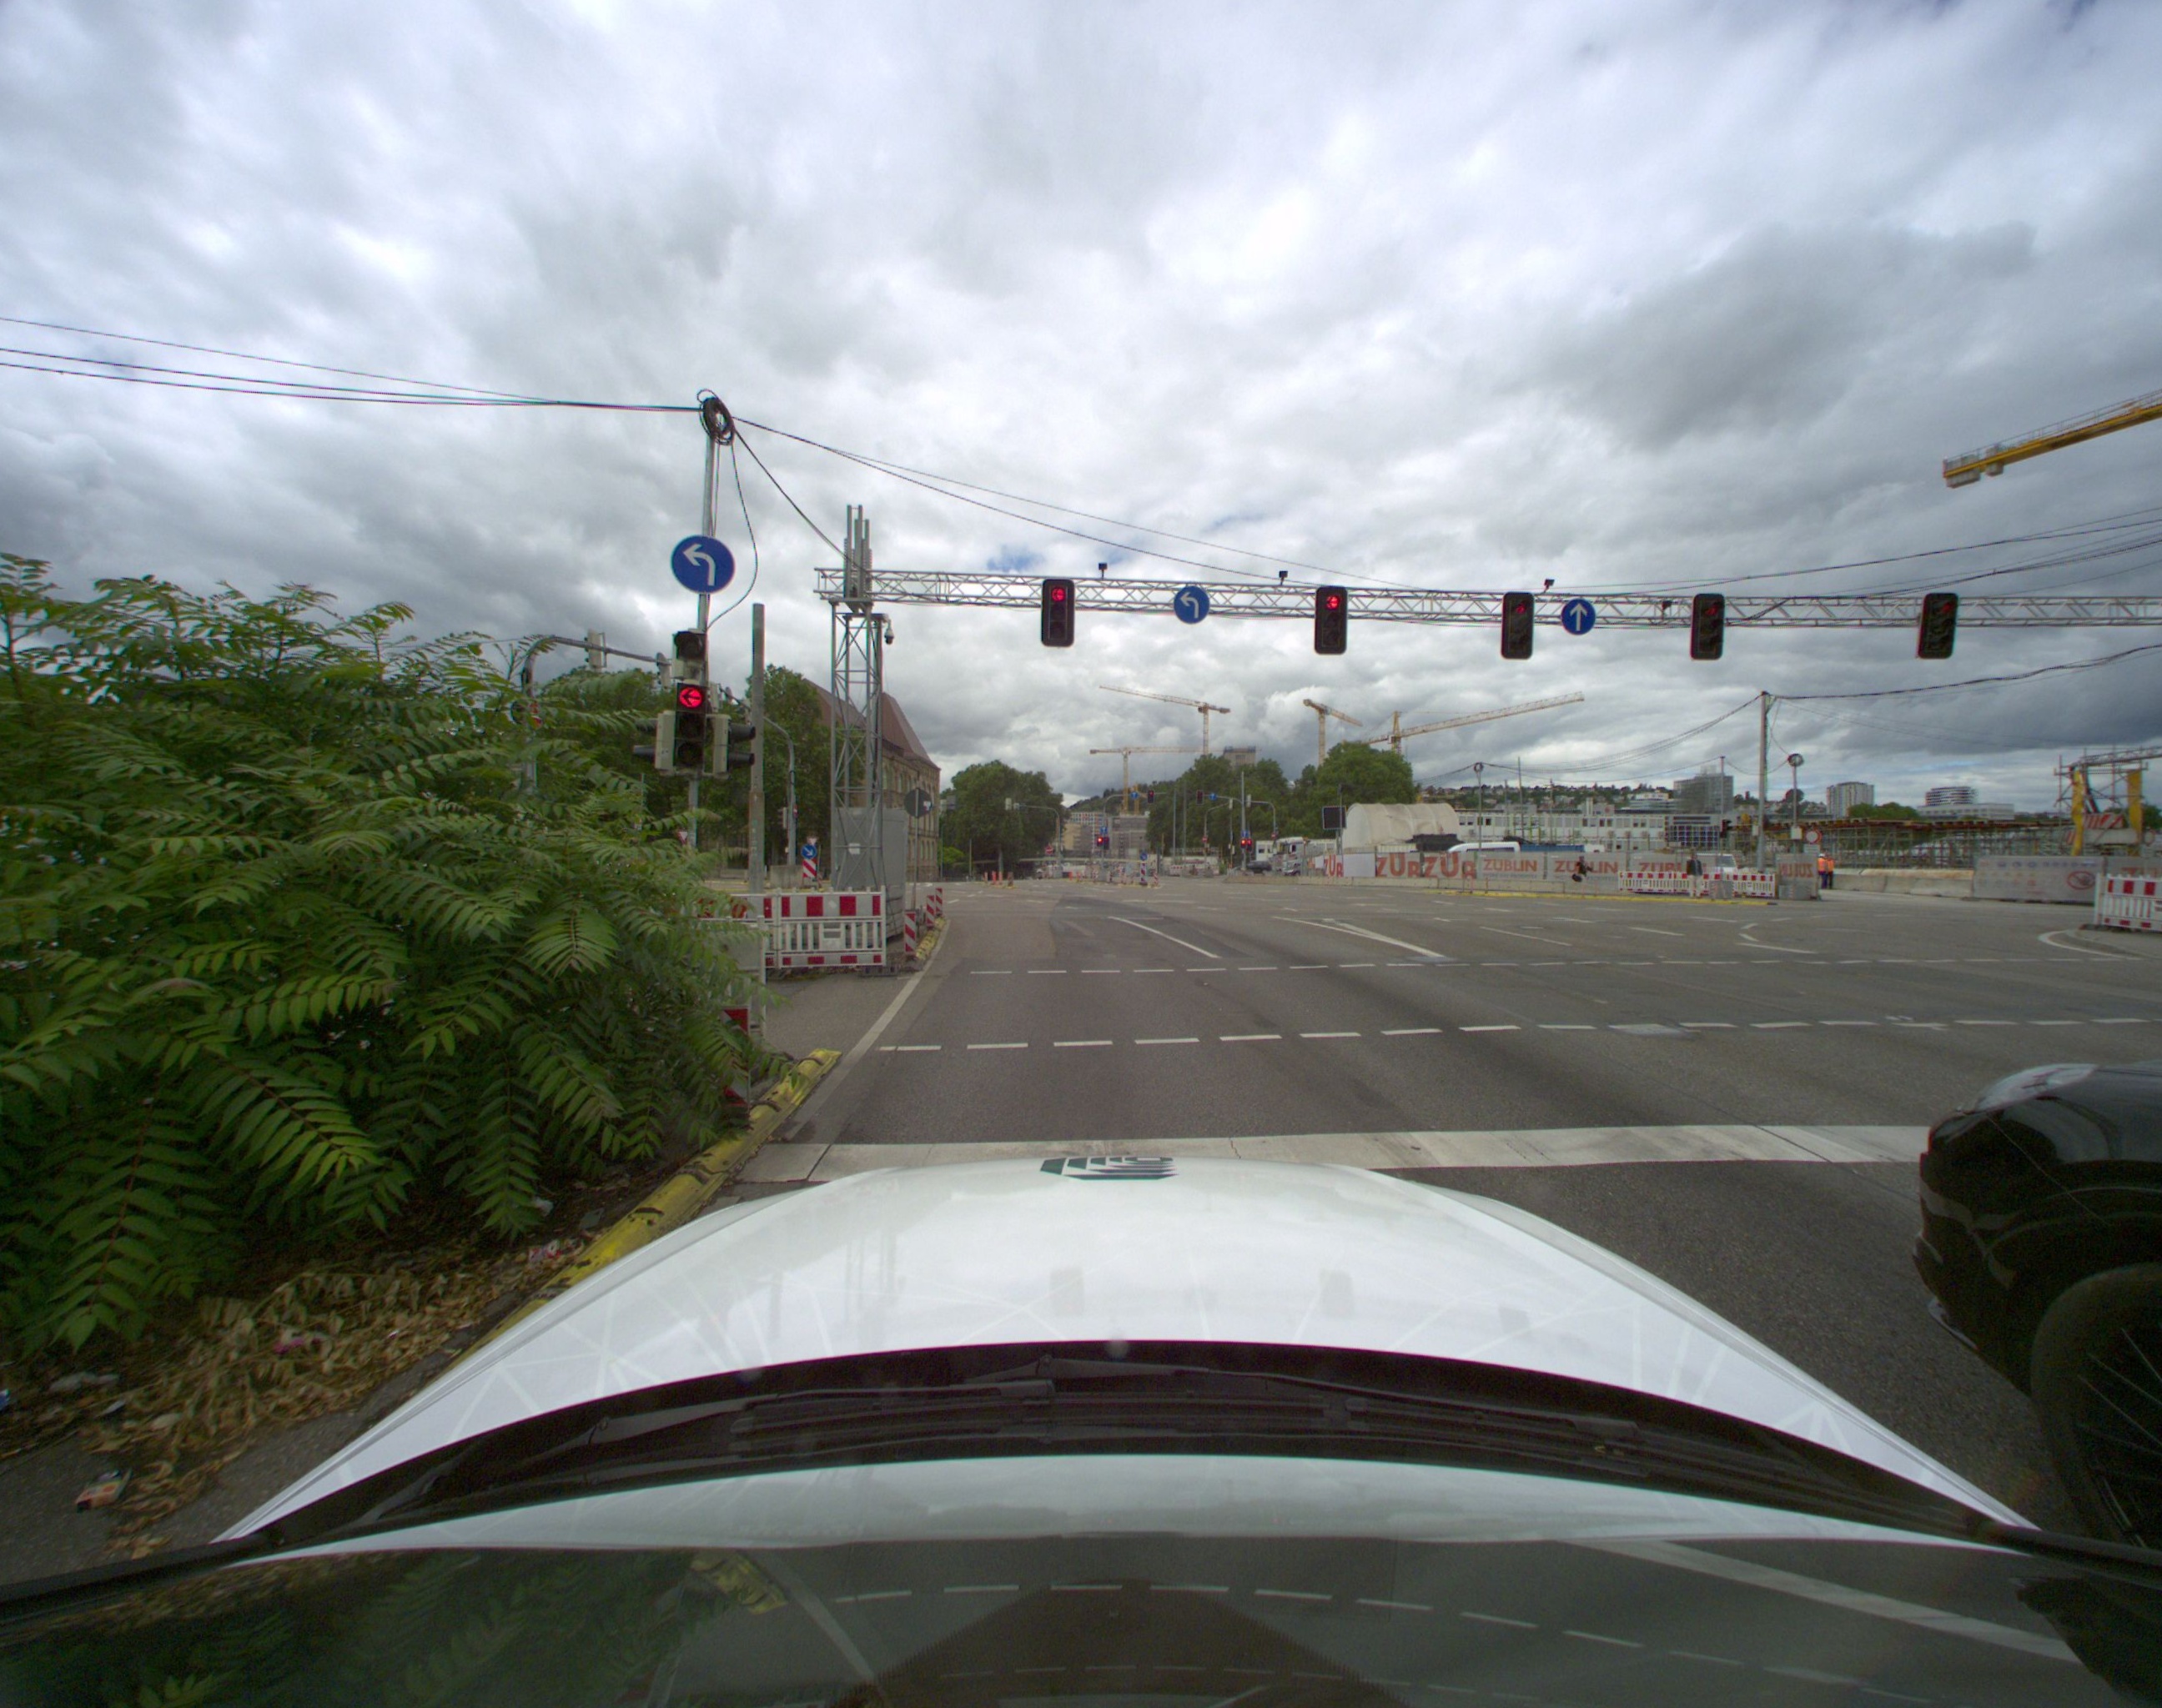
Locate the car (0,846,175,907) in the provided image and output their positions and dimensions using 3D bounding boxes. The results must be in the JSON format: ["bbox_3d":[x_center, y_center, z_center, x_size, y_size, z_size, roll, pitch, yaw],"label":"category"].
[{"bbox_3d":[-27.524,0.579,21.855,4.095,1.547,1.999,0,-1,-2],"label":"car"}]

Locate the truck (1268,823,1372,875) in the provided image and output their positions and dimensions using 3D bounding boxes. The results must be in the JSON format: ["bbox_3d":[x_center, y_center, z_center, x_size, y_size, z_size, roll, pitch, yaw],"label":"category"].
[{"bbox_3d":[23.610,-0.518,80.622,9.734,4.961,3.097,0,-1,-16],"label":"truck"}]

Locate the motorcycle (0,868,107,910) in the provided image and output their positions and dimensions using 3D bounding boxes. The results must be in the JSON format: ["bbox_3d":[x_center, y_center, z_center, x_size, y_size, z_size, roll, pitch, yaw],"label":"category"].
[{"bbox_3d":[-25.305,0.847,19.800,2.342,0.941,0.697,-1,-1,-2],"label":"motorcycle"}]

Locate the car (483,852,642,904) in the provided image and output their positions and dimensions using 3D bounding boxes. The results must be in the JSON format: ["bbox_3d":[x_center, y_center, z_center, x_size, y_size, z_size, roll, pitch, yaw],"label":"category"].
[{"bbox_3d":[-18.588,0.827,29.452,4.505,1.759,1.987,0,0,-20],"label":"car"}]

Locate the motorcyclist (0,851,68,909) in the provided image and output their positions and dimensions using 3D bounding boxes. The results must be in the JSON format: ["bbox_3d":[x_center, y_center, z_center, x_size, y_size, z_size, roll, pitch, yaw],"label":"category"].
[{"bbox_3d":[-25.433,0.621,19.778,0.786,1.380,0.697,-1,-1,-2],"label":"motorcyclist"}]

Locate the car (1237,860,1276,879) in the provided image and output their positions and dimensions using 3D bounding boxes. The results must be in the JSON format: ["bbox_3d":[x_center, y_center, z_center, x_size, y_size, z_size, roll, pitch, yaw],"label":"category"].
[{"bbox_3d":[19.214,1.722,89.235,3.956,2.014,2.009,-1,-1,17],"label":"car"}]

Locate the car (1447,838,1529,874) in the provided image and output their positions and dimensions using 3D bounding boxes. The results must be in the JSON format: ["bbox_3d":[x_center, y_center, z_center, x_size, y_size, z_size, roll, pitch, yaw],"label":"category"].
[{"bbox_3d":[23.468,0.122,47.106,3.955,2.014,2.009,-1,-1,17],"label":"car"}]

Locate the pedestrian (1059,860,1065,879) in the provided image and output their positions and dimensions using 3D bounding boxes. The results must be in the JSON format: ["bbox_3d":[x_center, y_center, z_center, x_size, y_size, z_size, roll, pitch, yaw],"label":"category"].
[{"bbox_3d":[-1.845,1.567,80.899,0.583,1.840,0.604,0,-1,-2],"label":"pedestrian"}]

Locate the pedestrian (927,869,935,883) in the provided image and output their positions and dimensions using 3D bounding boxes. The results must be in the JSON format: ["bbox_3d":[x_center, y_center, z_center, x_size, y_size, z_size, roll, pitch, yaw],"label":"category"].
[{"bbox_3d":[-21.304,3.132,115.868,0.946,2.014,0.767,0,-1,3],"label":"pedestrian"}]

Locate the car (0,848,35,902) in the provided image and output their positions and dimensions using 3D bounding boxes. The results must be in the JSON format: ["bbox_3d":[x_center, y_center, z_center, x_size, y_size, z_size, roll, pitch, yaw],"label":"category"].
[{"bbox_3d":[-32.877,0.603,22.973,4.094,1.547,2.000,0,-1,0],"label":"car"}]

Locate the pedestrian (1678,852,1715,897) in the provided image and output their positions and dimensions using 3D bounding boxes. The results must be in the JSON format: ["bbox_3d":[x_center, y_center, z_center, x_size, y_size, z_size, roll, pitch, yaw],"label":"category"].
[{"bbox_3d":[25.764,0.842,34.111,1.035,1.848,0.794,-1,-1,17],"label":"pedestrian"}]

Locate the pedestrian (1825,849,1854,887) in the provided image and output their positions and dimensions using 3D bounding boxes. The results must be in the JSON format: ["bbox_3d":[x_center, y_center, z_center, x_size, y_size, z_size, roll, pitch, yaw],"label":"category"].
[{"bbox_3d":[39.047,0.728,41.944,0.677,1.916,0.865,0,-1,-4],"label":"pedestrian"}]

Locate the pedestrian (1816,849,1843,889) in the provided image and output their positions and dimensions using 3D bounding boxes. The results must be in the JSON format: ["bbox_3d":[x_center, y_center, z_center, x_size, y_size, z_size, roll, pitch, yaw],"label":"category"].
[{"bbox_3d":[38.288,0.747,41.663,0.673,2.014,0.869,-1,-1,14],"label":"pedestrian"}]

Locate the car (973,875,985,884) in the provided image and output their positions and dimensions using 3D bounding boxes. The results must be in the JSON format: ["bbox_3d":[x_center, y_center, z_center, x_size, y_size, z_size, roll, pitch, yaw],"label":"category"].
[{"bbox_3d":[-21.757,5.419,173.421,1.987,1.838,3.998,0,-1,-1],"label":"car"}]

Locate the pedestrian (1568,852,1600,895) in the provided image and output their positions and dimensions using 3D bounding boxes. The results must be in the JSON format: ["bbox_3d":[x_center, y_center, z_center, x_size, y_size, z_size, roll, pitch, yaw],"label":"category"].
[{"bbox_3d":[23.881,0.926,38.676,1.052,2.014,1.022,0,-1,-42],"label":"pedestrian"}]
